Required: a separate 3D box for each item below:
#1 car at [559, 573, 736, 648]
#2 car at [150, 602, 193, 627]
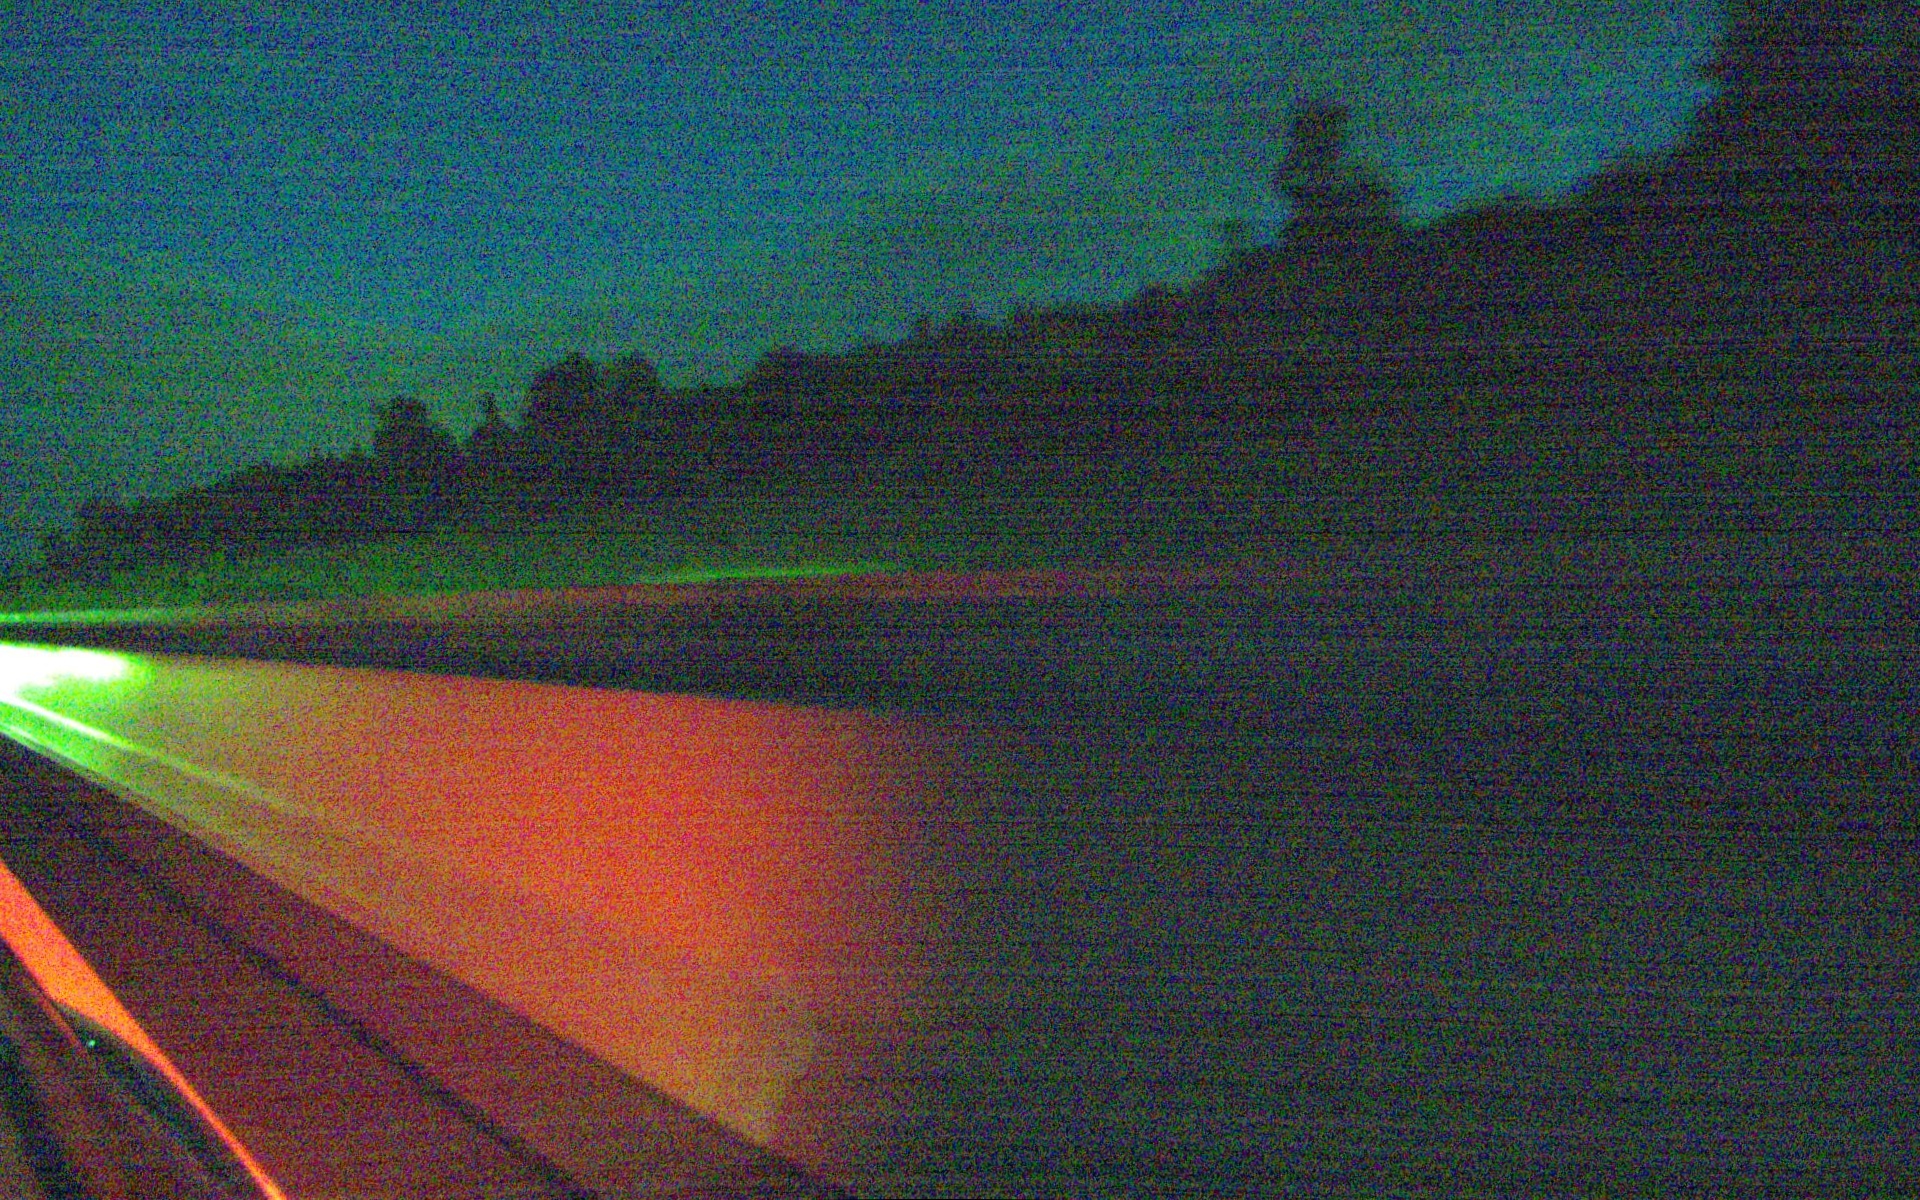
[{"bbox_3d":[-8.082,0.289,25.969,4.744,1.648,1.973,-3,2,40],"label":"car"},{"bbox_3d":[-63.828,1.192,81.892,3.996,1.940,1.974,-2,-1,39],"label":"car"}]
